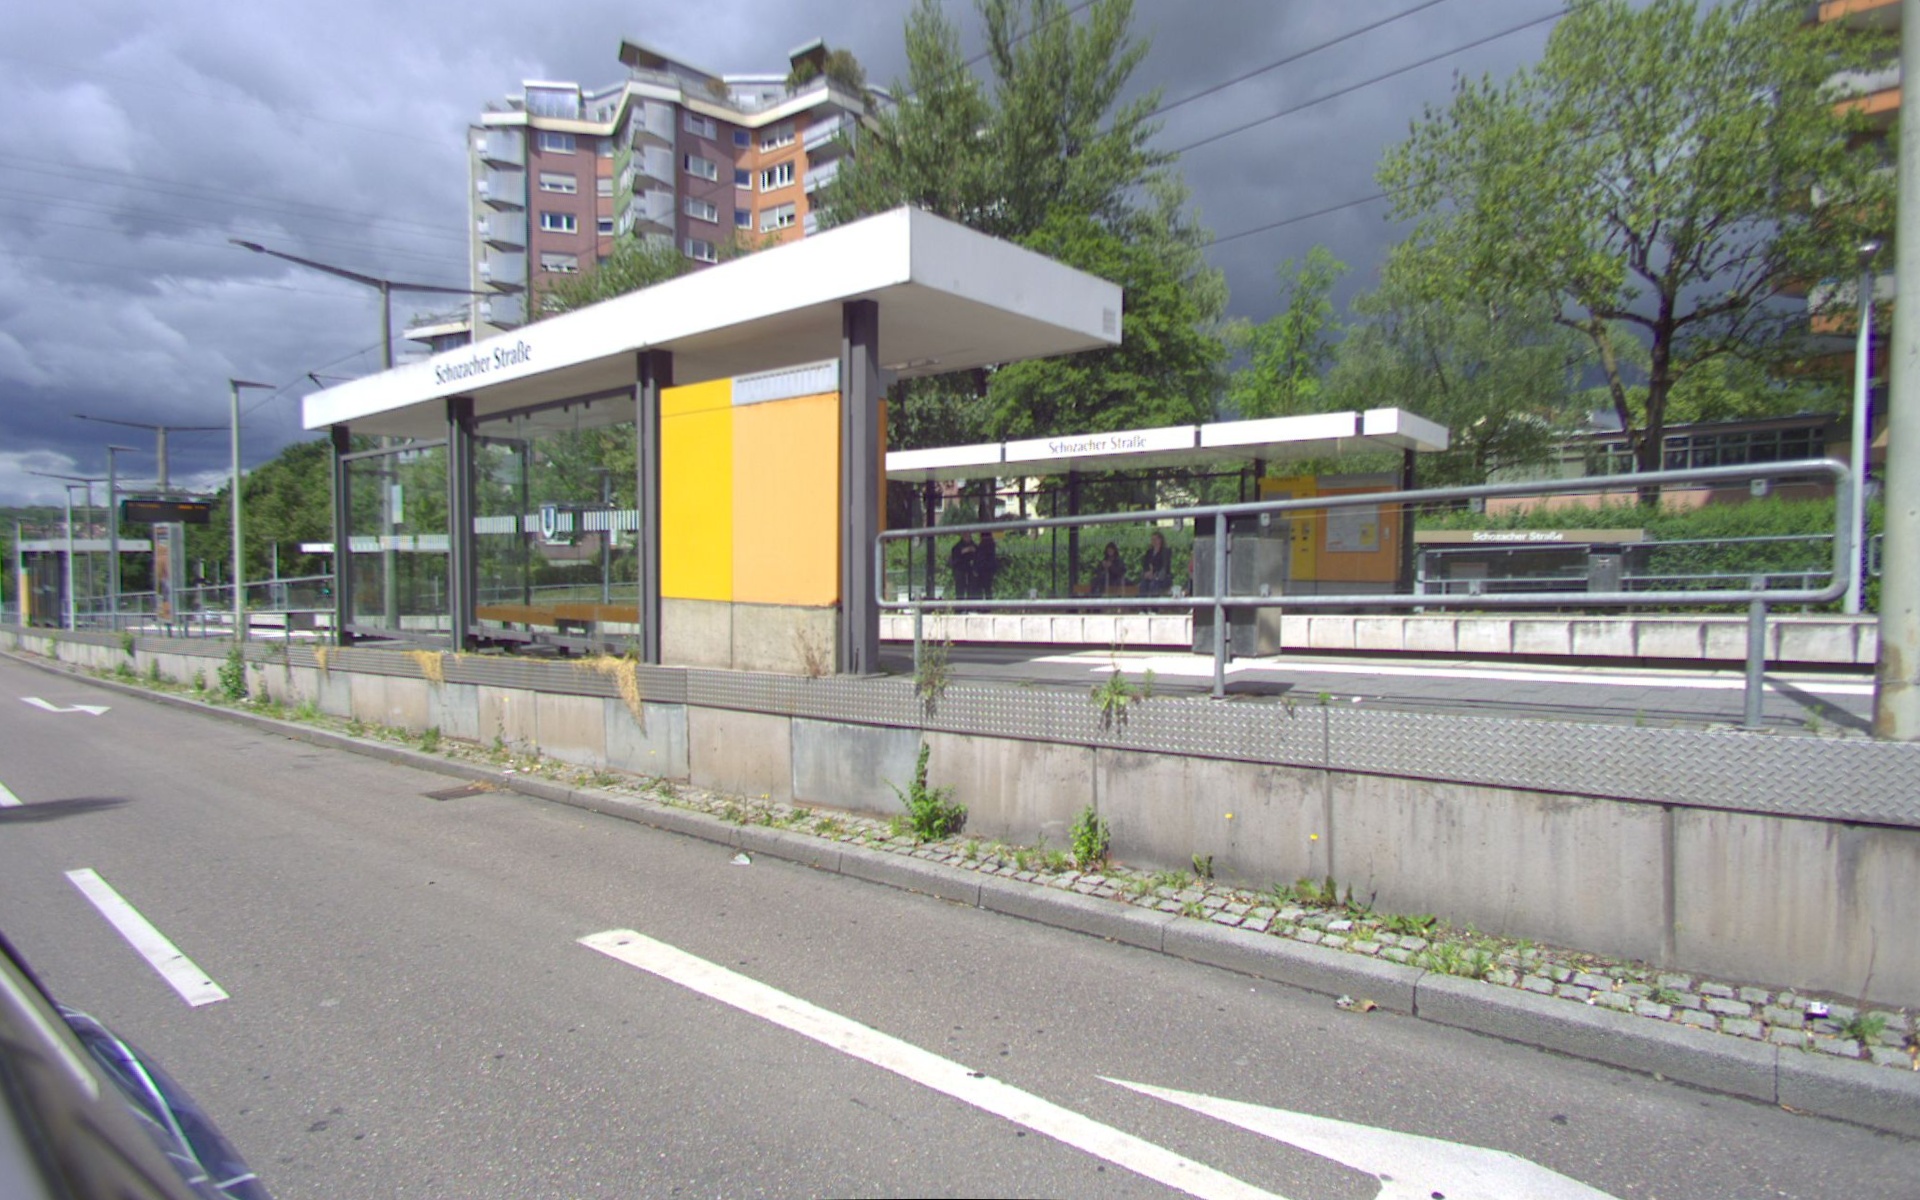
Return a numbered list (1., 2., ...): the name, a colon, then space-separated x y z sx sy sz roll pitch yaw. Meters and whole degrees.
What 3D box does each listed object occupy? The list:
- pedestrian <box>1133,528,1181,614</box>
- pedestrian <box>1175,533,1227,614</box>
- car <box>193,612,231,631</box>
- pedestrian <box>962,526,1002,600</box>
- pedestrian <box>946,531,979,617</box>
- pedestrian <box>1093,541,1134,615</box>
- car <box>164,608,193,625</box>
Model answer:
1. pedestrian: 3.257 -0.465 16.714 0.506 1.379 0.637 -1 -1 41
2. pedestrian: 3.834 -0.409 16.078 0.517 1.246 0.734 -1 0 41
3. car: -59.767 1.713 80.836 3.999 1.429 1.637 -1 0 42
4. pedestrian: 0.427 -0.701 19.362 0.520 1.390 0.537 2 1 33
5. pedestrian: 0.054 -0.507 19.894 0.558 1.657 0.520 -1 0 9
6. pedestrian: 2.634 -0.368 17.387 0.541 1.246 0.516 -1 0 29
7. car: -71.531 1.522 92.626 1.635 1.524 3.740 -1 0 -45
